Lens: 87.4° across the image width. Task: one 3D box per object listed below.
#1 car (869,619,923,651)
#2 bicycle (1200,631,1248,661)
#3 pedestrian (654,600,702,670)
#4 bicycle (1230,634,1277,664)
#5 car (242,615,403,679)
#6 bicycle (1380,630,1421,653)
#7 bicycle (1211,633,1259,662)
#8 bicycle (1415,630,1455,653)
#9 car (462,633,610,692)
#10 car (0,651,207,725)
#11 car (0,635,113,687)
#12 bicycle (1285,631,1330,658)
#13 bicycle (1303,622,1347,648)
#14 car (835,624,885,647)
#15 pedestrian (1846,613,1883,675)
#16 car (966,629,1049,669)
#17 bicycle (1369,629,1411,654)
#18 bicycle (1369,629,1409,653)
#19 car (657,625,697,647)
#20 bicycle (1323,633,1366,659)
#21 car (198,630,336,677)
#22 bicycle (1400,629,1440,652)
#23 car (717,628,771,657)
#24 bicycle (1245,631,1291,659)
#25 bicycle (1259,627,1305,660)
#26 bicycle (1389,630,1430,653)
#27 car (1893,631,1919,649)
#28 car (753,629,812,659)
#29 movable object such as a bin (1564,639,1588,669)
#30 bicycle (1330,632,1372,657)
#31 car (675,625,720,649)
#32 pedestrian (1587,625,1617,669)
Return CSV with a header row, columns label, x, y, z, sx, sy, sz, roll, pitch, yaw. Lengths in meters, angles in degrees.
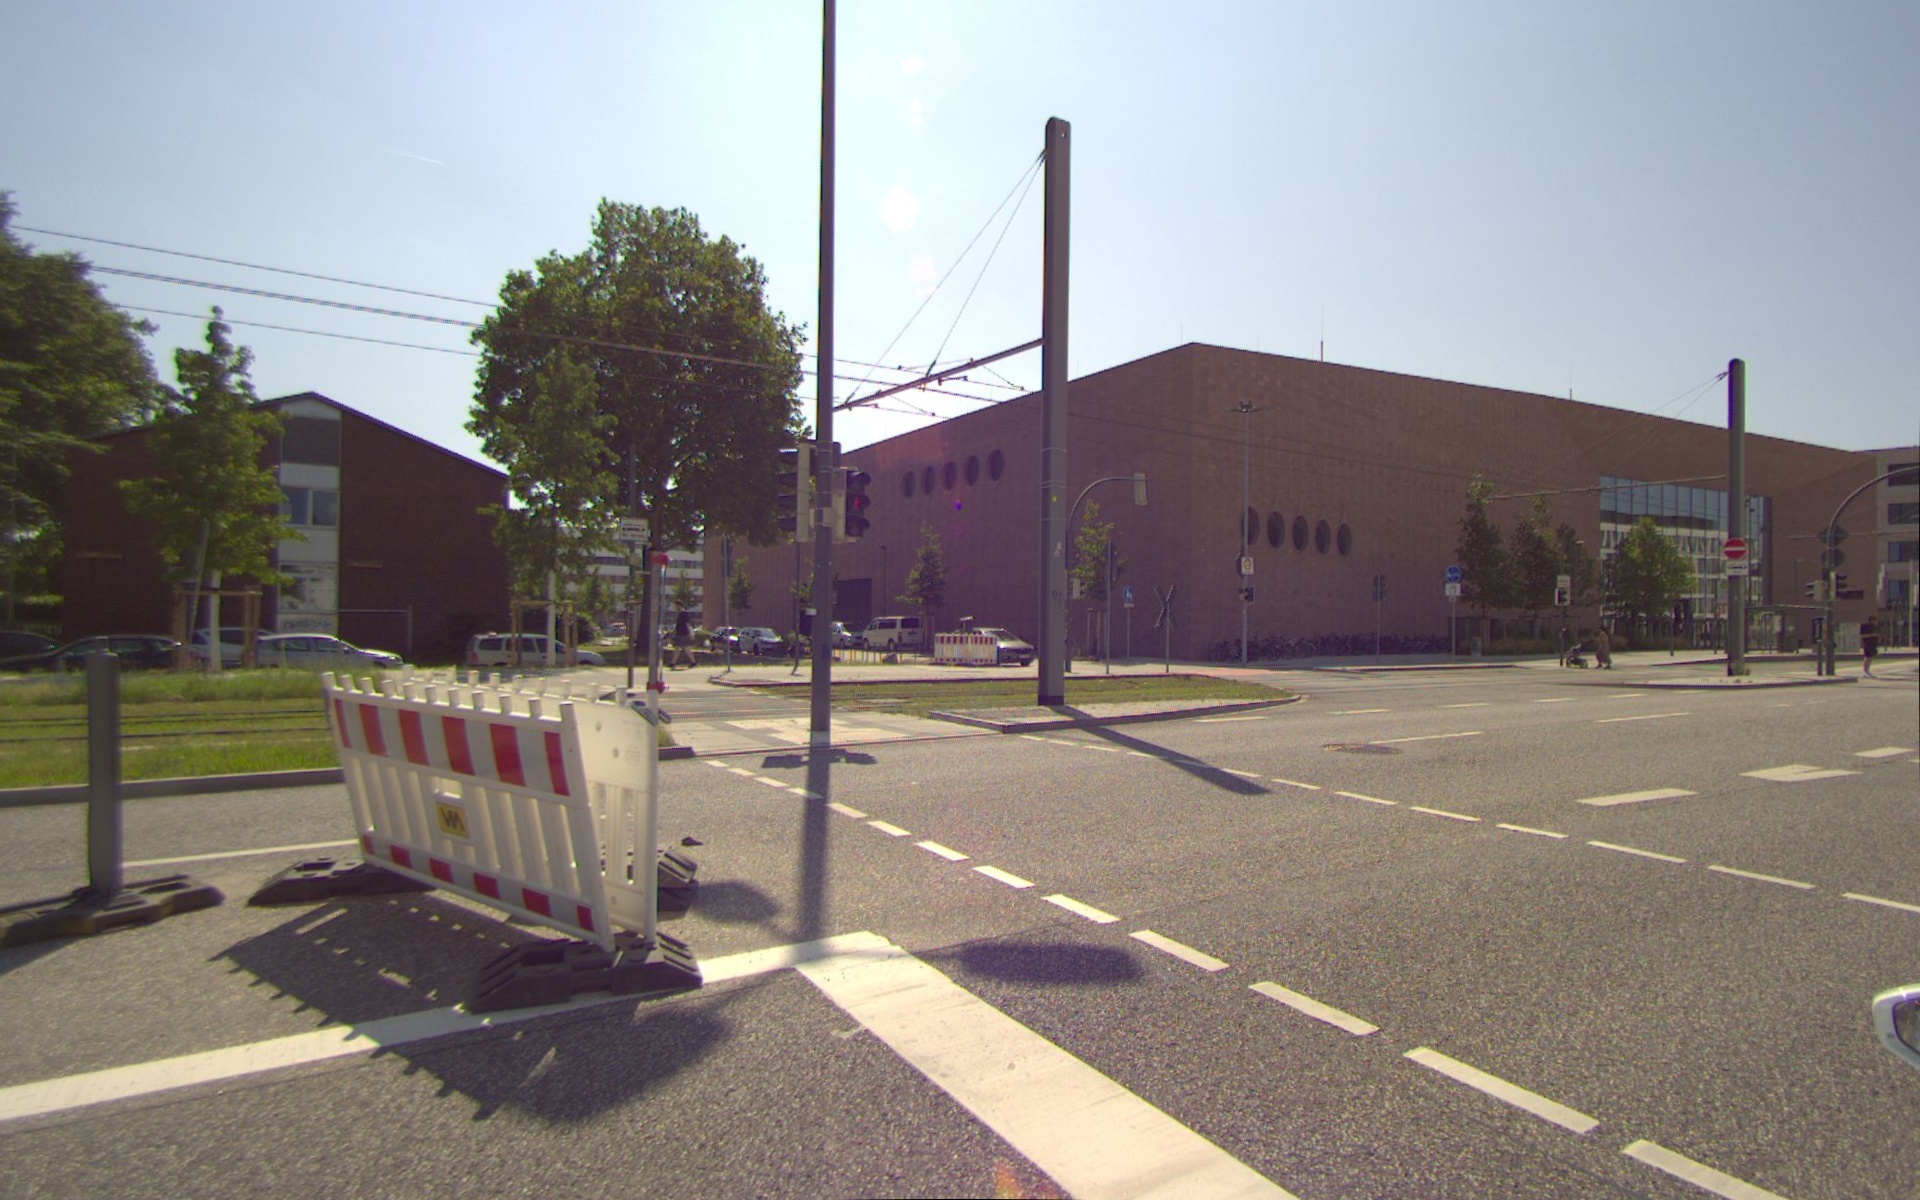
label,x,y,z,sx,sy,sz,roll,pitch,yaw
car,-3.729,1.993,58.192,1.675,1.712,3.524,1,0,-31
bicycle,11.441,1.969,43.551,0.535,1.228,2.032,1,-1,-42
pedestrian,-7.772,0.955,27.655,1.094,1.871,0.808,1,-1,-29
bicycle,13.087,2.170,44.828,0.535,1.228,2.032,1,-1,-42
car,-18.843,1.396,29.866,3.896,1.784,1.689,2,-1,-32
bicycle,24.426,2.309,55.710,0.535,1.228,2.032,1,-1,-42
bicycle,12.053,2.073,44.077,0.535,1.228,2.032,1,-1,-42
bicycle,27.267,2.373,57.652,0.535,1.228,2.032,1,-1,-42
car,-13.957,2.050,33.120,4.254,1.784,1.689,2,-1,-32
car,-23.209,2.326,27.069,4.481,1.784,1.689,2,-1,-32
car,-27.969,1.806,30.124,3.750,1.476,1.528,1,-1,-35
bicycle,16.592,2.117,47.952,0.535,1.228,2.032,1,-1,-42
bicycle,18.104,1.738,49.824,0.535,1.228,2.032,1,-1,-42
car,-6.305,2.226,62.863,1.694,1.339,3.476,2,-1,-33
pedestrian,27.714,1.336,30.786,0.653,1.858,0.650,1,0,-28
car,1.814,1.874,39.332,1.556,1.388,3.458,1,0,-33
bicycle,22.871,2.195,53.435,0.535,1.228,2.032,1,-1,-42
bicycle,23.246,2.202,54.490,0.740,1.228,1.869,1,-1,-38
car,-19.759,2.493,70.061,1.974,1.421,3.973,2,-1,-26
bicycle,19.361,2.293,50.599,0.535,1.228,2.032,1,-1,-42
car,-23.185,1.762,33.771,3.746,1.476,1.530,1,-1,-32
bicycle,26.089,2.293,57.037,0.535,1.228,2.032,1,-1,-42
car,-11.935,2.313,55.450,1.974,1.421,3.973,2,-1,-26
bicycle,14.068,2.056,45.901,0.536,1.228,2.031,1,-1,-44
bicycle,14.938,1.998,46.682,0.535,1.472,2.032,1,-1,-42
bicycle,25.211,2.317,56.333,0.535,1.228,2.032,1,-1,-42
car,104.656,4.418,109.700,1.786,1.840,3.903,2,-1,-43
car,-9.204,2.256,51.883,1.974,1.421,3.973,2,-1,-26
movable object such as a bin,22.868,1.992,37.290,0.703,1.045,0.791,0,0,34
bicycle,20.196,2.307,51.932,0.535,1.228,2.032,1,-1,-42
car,-16.826,2.350,64.217,1.974,1.421,3.973,2,-1,-26
pedestrian,23.537,1.715,36.817,0.917,1.583,0.791,0,0,35
